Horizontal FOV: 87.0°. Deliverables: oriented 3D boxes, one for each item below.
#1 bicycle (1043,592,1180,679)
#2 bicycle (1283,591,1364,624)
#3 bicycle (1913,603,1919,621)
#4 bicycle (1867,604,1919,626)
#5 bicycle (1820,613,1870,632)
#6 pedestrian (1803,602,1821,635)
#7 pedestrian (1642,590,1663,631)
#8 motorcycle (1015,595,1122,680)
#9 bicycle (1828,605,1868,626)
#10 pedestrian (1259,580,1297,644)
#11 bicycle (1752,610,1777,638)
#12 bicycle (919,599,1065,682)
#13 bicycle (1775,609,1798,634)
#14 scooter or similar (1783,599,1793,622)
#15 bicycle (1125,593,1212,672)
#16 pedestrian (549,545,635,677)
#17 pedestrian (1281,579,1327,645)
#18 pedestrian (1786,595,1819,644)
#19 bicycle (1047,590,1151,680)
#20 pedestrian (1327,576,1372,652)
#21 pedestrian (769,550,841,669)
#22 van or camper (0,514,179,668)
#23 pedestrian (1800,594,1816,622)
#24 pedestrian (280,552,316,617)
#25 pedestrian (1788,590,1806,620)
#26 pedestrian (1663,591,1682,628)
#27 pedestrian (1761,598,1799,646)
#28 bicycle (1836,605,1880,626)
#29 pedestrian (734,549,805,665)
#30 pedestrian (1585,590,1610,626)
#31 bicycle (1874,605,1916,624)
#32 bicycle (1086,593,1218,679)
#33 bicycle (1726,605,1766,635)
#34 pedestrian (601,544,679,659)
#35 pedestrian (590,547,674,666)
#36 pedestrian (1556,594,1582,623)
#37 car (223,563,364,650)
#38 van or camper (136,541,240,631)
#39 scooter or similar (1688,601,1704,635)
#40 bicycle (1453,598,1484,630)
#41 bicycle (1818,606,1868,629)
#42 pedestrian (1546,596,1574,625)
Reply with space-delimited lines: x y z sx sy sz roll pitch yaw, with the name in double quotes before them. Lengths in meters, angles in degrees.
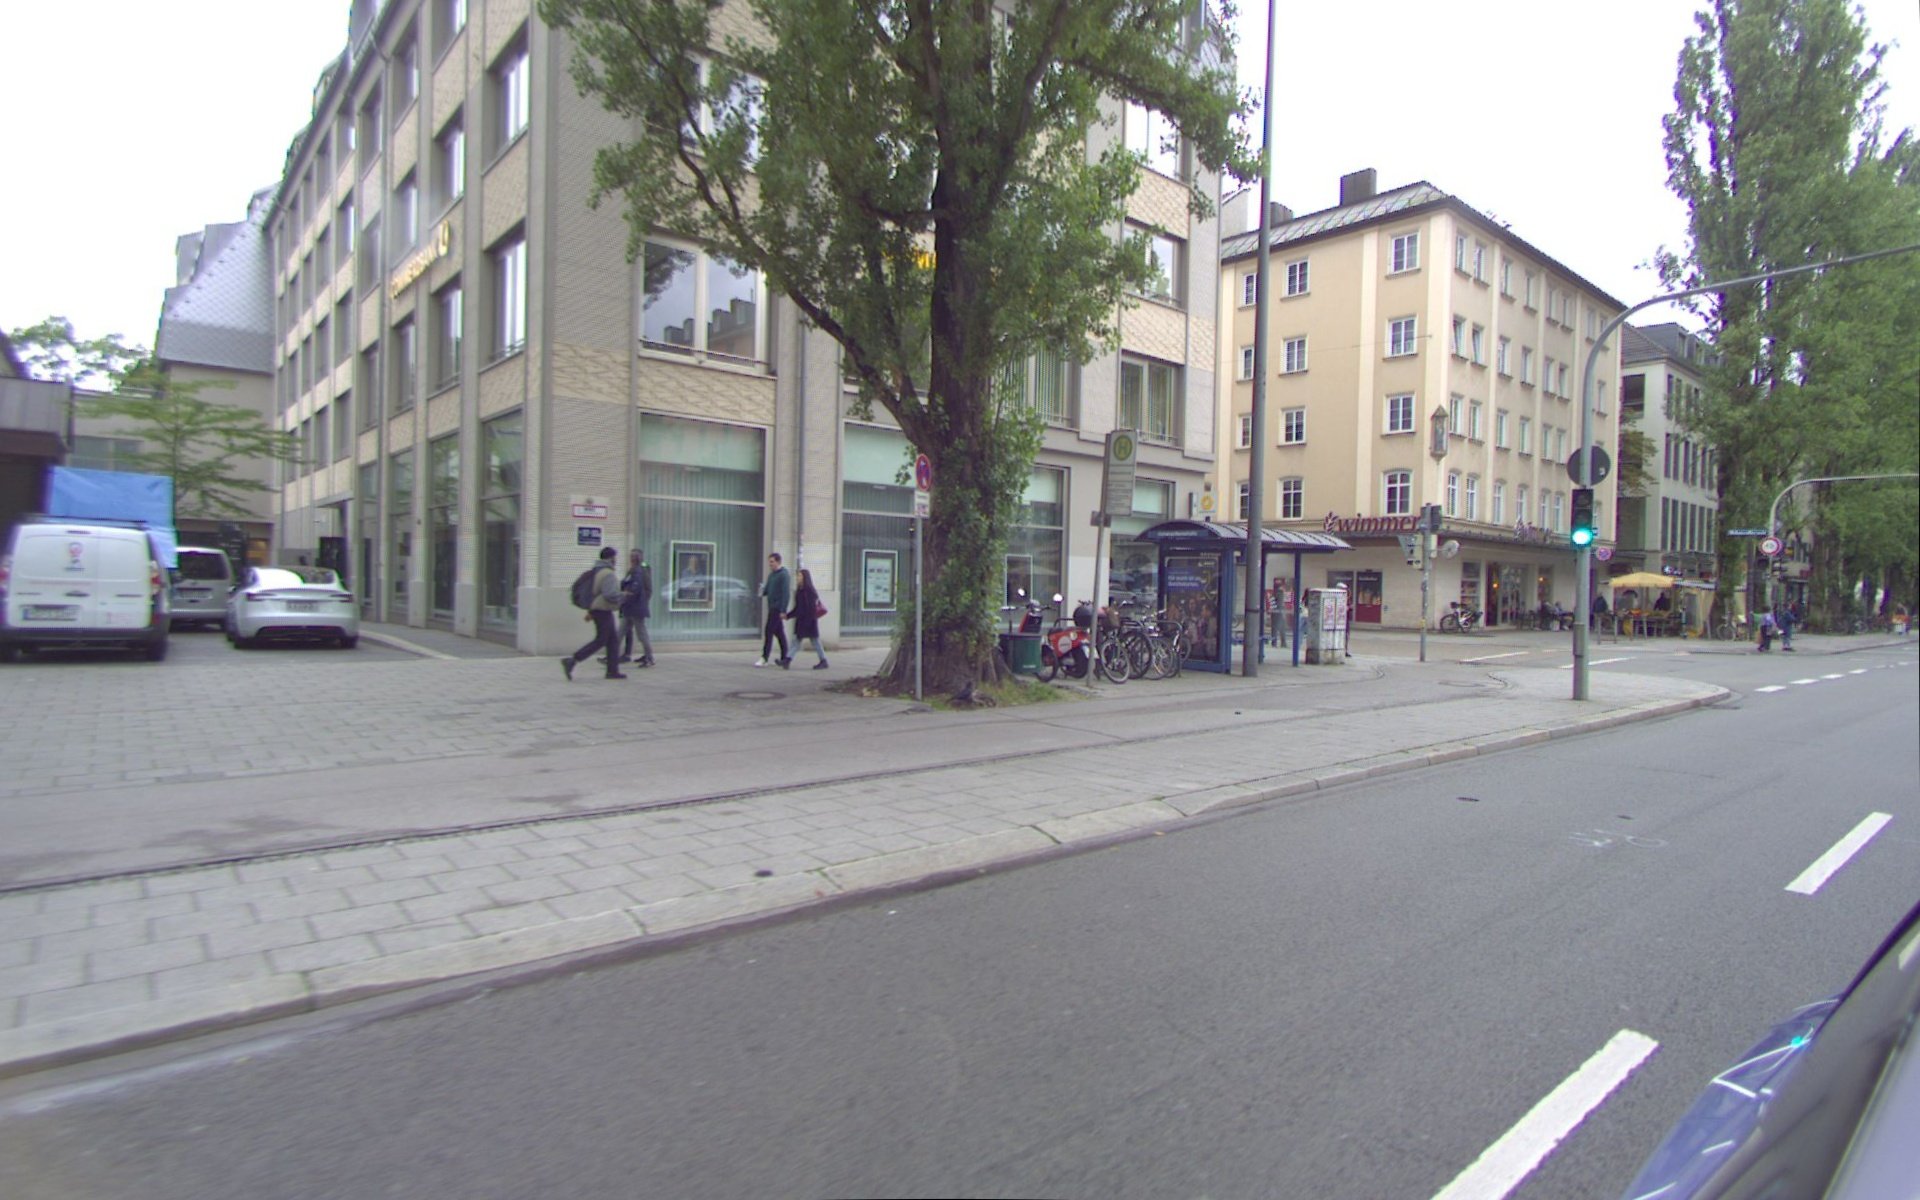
"bicycle" 2.406 0.531 16.396 0.622 1.268 2.348 1 1 -40
"bicycle" 14.597 0.272 40.700 0.982 1.268 2.976 0 0 -41
"bicycle" 75.828 0.974 79.283 0.819 1.429 2.579 1 0 23
"bicycle" 59.410 0.942 64.236 0.948 1.230 2.576 1 1 -40
"bicycle" 47.296 1.191 54.121 1.997 0.957 0.282 2 1 42
"pedestrian" 52.735 1.146 62.651 0.709 1.996 0.658 1 1 -38
"pedestrian" 29.330 0.442 42.892 0.526 1.694 0.542 1 1 -34
"motorcycle" 1.600 0.531 15.174 0.500 1.154 1.729 1 1 -39
"bicycle" 50.219 0.865 57.250 1.657 1.121 0.391 2 1 39
"pedestrian" 9.021 0.322 28.745 0.698 1.780 0.752 1 0 -39
"bicycle" 32.056 0.937 40.312 1.740 1.061 0.509 0 1 -43
"bicycle" 0.421 0.535 14.475 0.859 1.030 2.152 1 1 -41
"bicycle" 34.957 0.897 42.795 1.740 0.987 0.509 0 1 -43
"scooter or similar" 45.826 0.575 56.000 1.018 1.289 0.247 1 1 -41
"bicycle" 3.611 0.525 17.761 0.467 1.268 2.252 1 1 -17
"pedestrian" -4.871 0.130 13.409 0.912 1.687 0.561 1 1 -40
"pedestrian" 9.588 0.335 28.204 0.999 1.780 0.752 1 1 -40
"pedestrian" 28.406 0.646 34.117 0.850 1.630 0.766 1 1 -45
"bicycle" 2.095 0.502 15.466 0.441 1.255 1.729 1 1 -39
"pedestrian" 9.393 0.328 24.426 0.739 1.780 0.710 1 1 -39
"pedestrian" -2.398 0.121 15.672 0.844 1.779 0.752 -2 2 -39
"van or camper" -12.411 -0.127 14.485 1.863 1.890 4.116 0 0 -36
"pedestrian" 54.812 0.522 65.382 0.662 1.807 0.658 1 1 -39
"pedestrian" -17.167 -0.414 26.231 0.738 1.643 0.963 1 1 -35
"pedestrian" 52.324 0.302 63.253 0.889 1.874 0.658 1 1 -39
"pedestrian" 32.858 0.421 46.681 0.526 1.694 0.542 1 1 -34
"pedestrian" 26.743 0.704 33.014 0.608 1.536 0.769 0 2 3
"bicycle" 51.317 0.887 57.832 1.864 1.149 0.335 2 1 42
"pedestrian" -3.044 0.083 16.168 0.844 1.779 0.752 -2 2 -39
"pedestrian" 29.540 0.356 46.890 0.687 1.609 0.777 1 1 -40
"bicycle" 60.231 0.916 65.229 0.674 1.141 1.901 1 1 -40
"bicycle" 3.096 0.542 16.534 0.469 1.268 2.319 1 1 -40
"bicycle" 30.197 0.765 38.874 1.774 1.084 0.406 0 -4 -25
"pedestrian" -5.036 0.020 15.933 0.945 1.739 0.752 1 0 -40
"pedestrian" -4.872 0.082 15.024 0.945 1.698 0.752 1 1 -40
"pedestrian" 27.189 0.371 45.175 0.687 1.280 0.777 1 1 -40
"car" -12.402 0.049 18.707 1.865 1.405 4.312 1 1 -38
"van or camper" -17.544 -0.349 22.958 1.721 1.828 4.311 1 1 -39
"scooter or similar" 28.141 0.666 38.711 0.405 1.259 1.355 1 1 33
"bicycle" 19.051 0.503 37.912 1.780 1.185 0.435 0 0 -43
"bicycle" 47.009 0.929 53.911 1.996 1.096 0.282 2 1 41
"pedestrian" 26.019 0.442 43.880 0.687 1.214 0.870 1 1 -40
